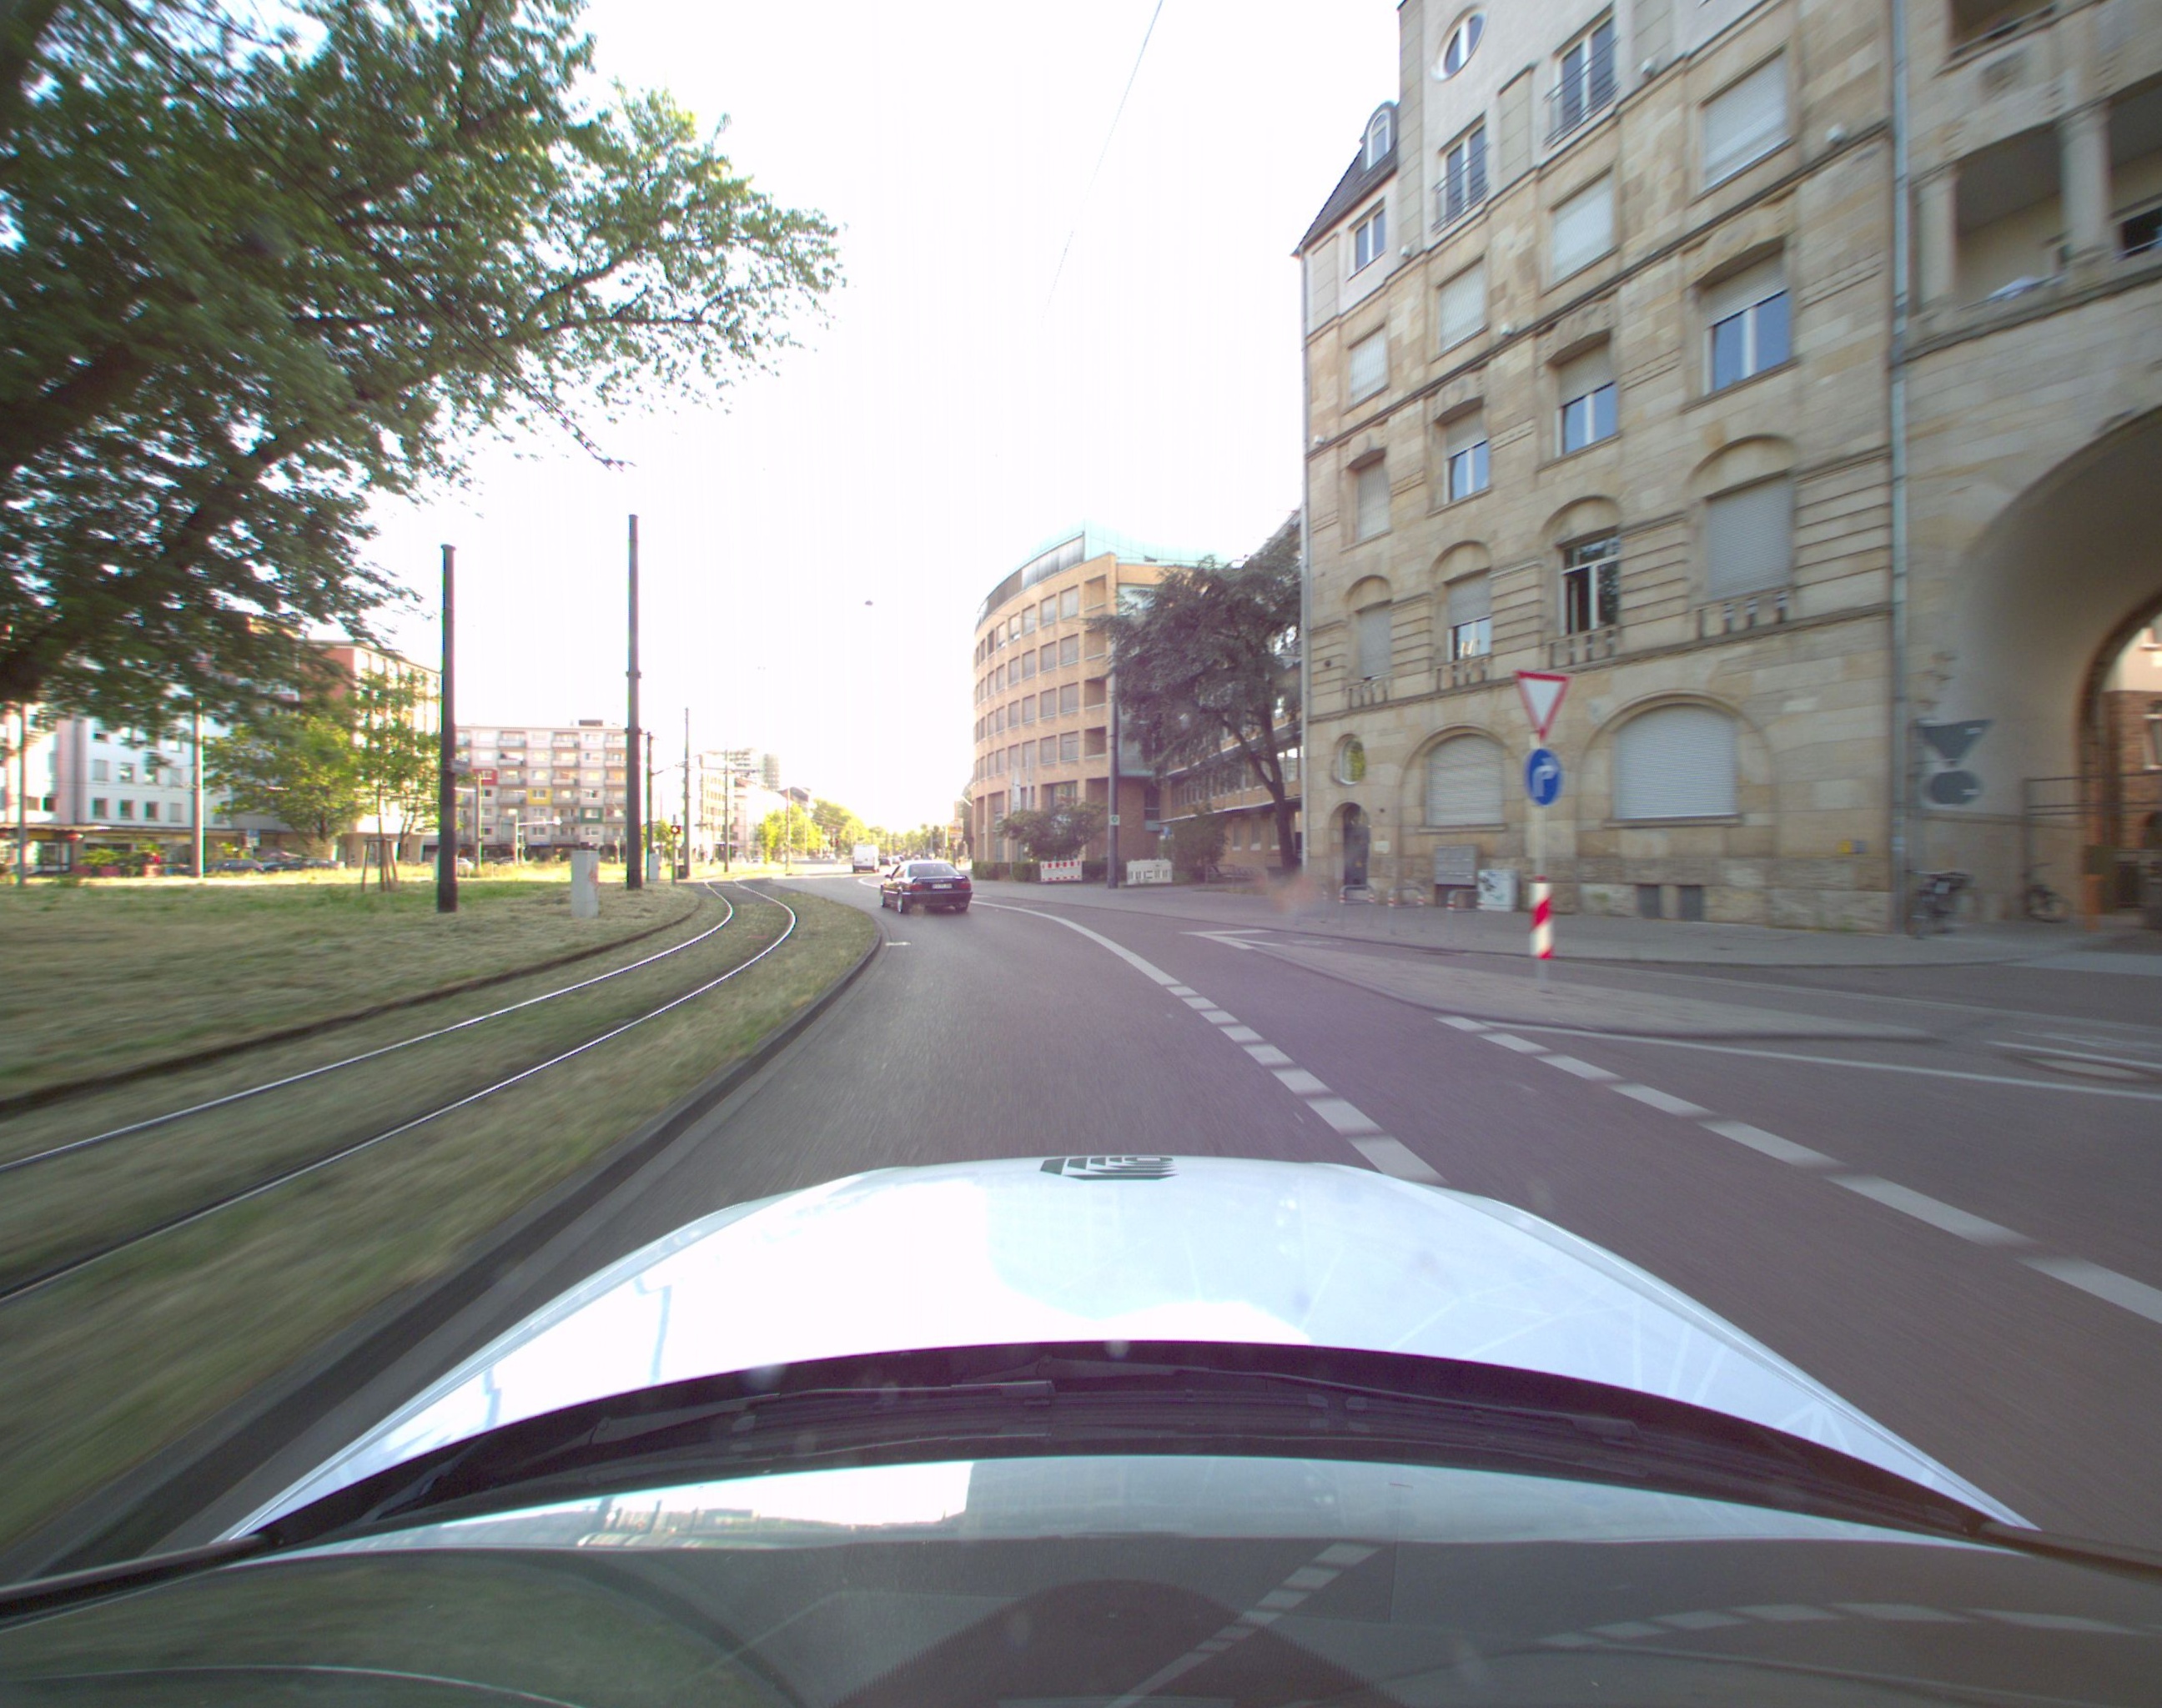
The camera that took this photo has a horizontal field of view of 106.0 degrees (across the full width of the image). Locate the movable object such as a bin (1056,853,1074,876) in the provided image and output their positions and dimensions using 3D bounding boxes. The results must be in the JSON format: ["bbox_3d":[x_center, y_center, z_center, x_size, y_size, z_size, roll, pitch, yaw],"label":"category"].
[{"bbox_3d":[-1.072,0.680,54.178,0.965,1.437,1.349,0,1,10],"label":"movable object such as a bin"}]

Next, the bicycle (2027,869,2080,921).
[{"bbox_3d":[19.665,0.807,16.462,1.518,0.955,0.477,-1,1,-32],"label":"bicycle"}]

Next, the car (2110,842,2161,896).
[{"bbox_3d":[33.156,0.457,23.704,1.619,1.595,3.676,0,1,-9],"label":"car"}]

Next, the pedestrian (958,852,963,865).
[{"bbox_3d":[-15.533,0.587,105.125,0.677,1.569,0.797,0,1,-11],"label":"pedestrian"}]

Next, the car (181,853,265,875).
[{"bbox_3d":[-65.223,0.759,62.012,1.741,1.526,4.016,0,1,14],"label":"car"}]

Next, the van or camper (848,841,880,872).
[{"bbox_3d":[-19.588,0.179,73.697,2.261,2.624,4.491,0,1,-8],"label":"van or camper"}]

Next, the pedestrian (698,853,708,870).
[{"bbox_3d":[-40.383,0.769,87.020,0.714,1.762,0.652,0,1,12],"label":"pedestrian"}]

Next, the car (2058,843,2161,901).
[{"bbox_3d":[30.779,0.493,23.075,1.619,1.595,3.676,0,1,-9],"label":"car"}]

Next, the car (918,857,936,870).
[{"bbox_3d":[-16.779,1.030,89.105,1.783,1.354,4.253,1,0,-9],"label":"car"}]

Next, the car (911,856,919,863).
[{"bbox_3d":[-38.664,1.320,189.240,1.796,1.566,3.984,-1,1,-12],"label":"car"}]

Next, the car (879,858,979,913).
[{"bbox_3d":[-4.433,0.822,23.241,1.838,1.354,4.605,-1,0,-23],"label":"car"}]

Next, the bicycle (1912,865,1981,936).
[{"bbox_3d":[14.347,0.745,13.491,1.862,1.073,0.425,-1,1,-32],"label":"bicycle"}]

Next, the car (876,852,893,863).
[{"bbox_3d":[-26.225,0.436,108.691,1.736,1.385,3.990,0,1,-8],"label":"car"}]

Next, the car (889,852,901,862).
[{"bbox_3d":[-30.976,0.527,135.701,1.796,1.566,3.984,-1,1,-12],"label":"car"}]

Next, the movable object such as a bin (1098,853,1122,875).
[{"bbox_3d":[1.929,0.637,54.000,1.343,1.424,0.919,-1,1,-16],"label":"movable object such as a bin"}]

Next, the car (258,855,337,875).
[{"bbox_3d":[-63.702,0.876,66.298,1.741,1.526,4.309,0,1,14],"label":"car"}]

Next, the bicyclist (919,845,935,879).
[{"bbox_3d":[-6.797,0.348,35.877,0.655,1.483,1.034,2,-1,-11],"label":"bicyclist"}]

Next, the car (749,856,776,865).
[{"bbox_3d":[-53.738,1.077,137.432,4.016,1.434,1.700,1,1,-35],"label":"car"}]

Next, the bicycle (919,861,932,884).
[{"bbox_3d":[-6.855,0.804,35.852,0.515,0.954,1.769,2,0,-11],"label":"bicycle"}]

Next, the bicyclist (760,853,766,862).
[{"bbox_3d":[-52.990,0.603,135.628,0.859,1.442,0.656,2,0,-33],"label":"bicyclist"}]

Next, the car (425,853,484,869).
[{"bbox_3d":[-57.224,0.617,74.497,1.693,1.390,4.017,0,1,16],"label":"car"}]
